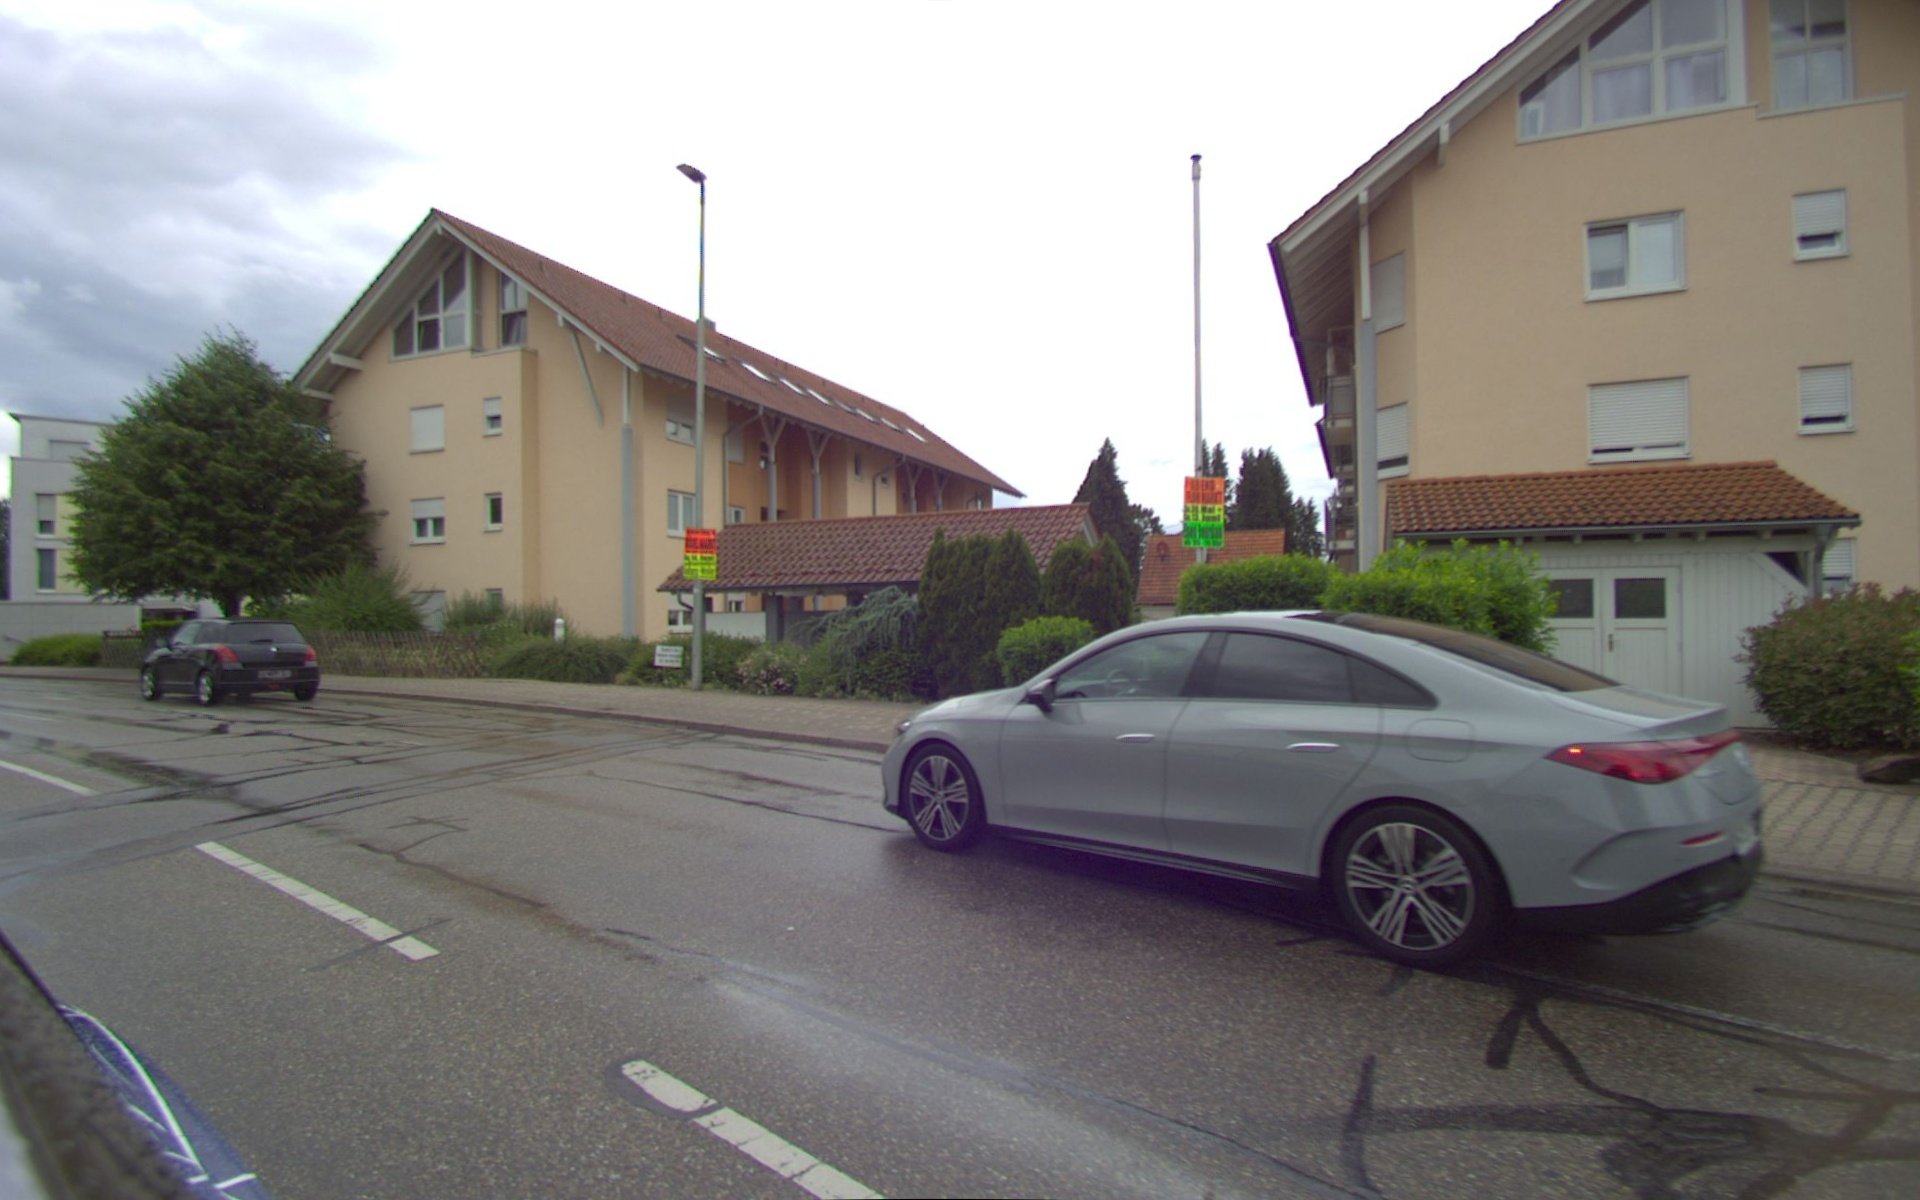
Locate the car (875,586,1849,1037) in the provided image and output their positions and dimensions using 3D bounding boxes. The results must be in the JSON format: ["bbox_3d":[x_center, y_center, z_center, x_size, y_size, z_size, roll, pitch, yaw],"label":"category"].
[{"bbox_3d":[1.694,0.694,5.431,1.879,1.401,4.492,1,-1,-44],"label":"car"}]

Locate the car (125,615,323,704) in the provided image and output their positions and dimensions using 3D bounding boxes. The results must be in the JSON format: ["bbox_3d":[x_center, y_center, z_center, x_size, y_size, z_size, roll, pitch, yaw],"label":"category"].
[{"bbox_3d":[-13.083,1.035,17.947,3.683,1.433,1.575,-2,-3,32],"label":"car"}]
